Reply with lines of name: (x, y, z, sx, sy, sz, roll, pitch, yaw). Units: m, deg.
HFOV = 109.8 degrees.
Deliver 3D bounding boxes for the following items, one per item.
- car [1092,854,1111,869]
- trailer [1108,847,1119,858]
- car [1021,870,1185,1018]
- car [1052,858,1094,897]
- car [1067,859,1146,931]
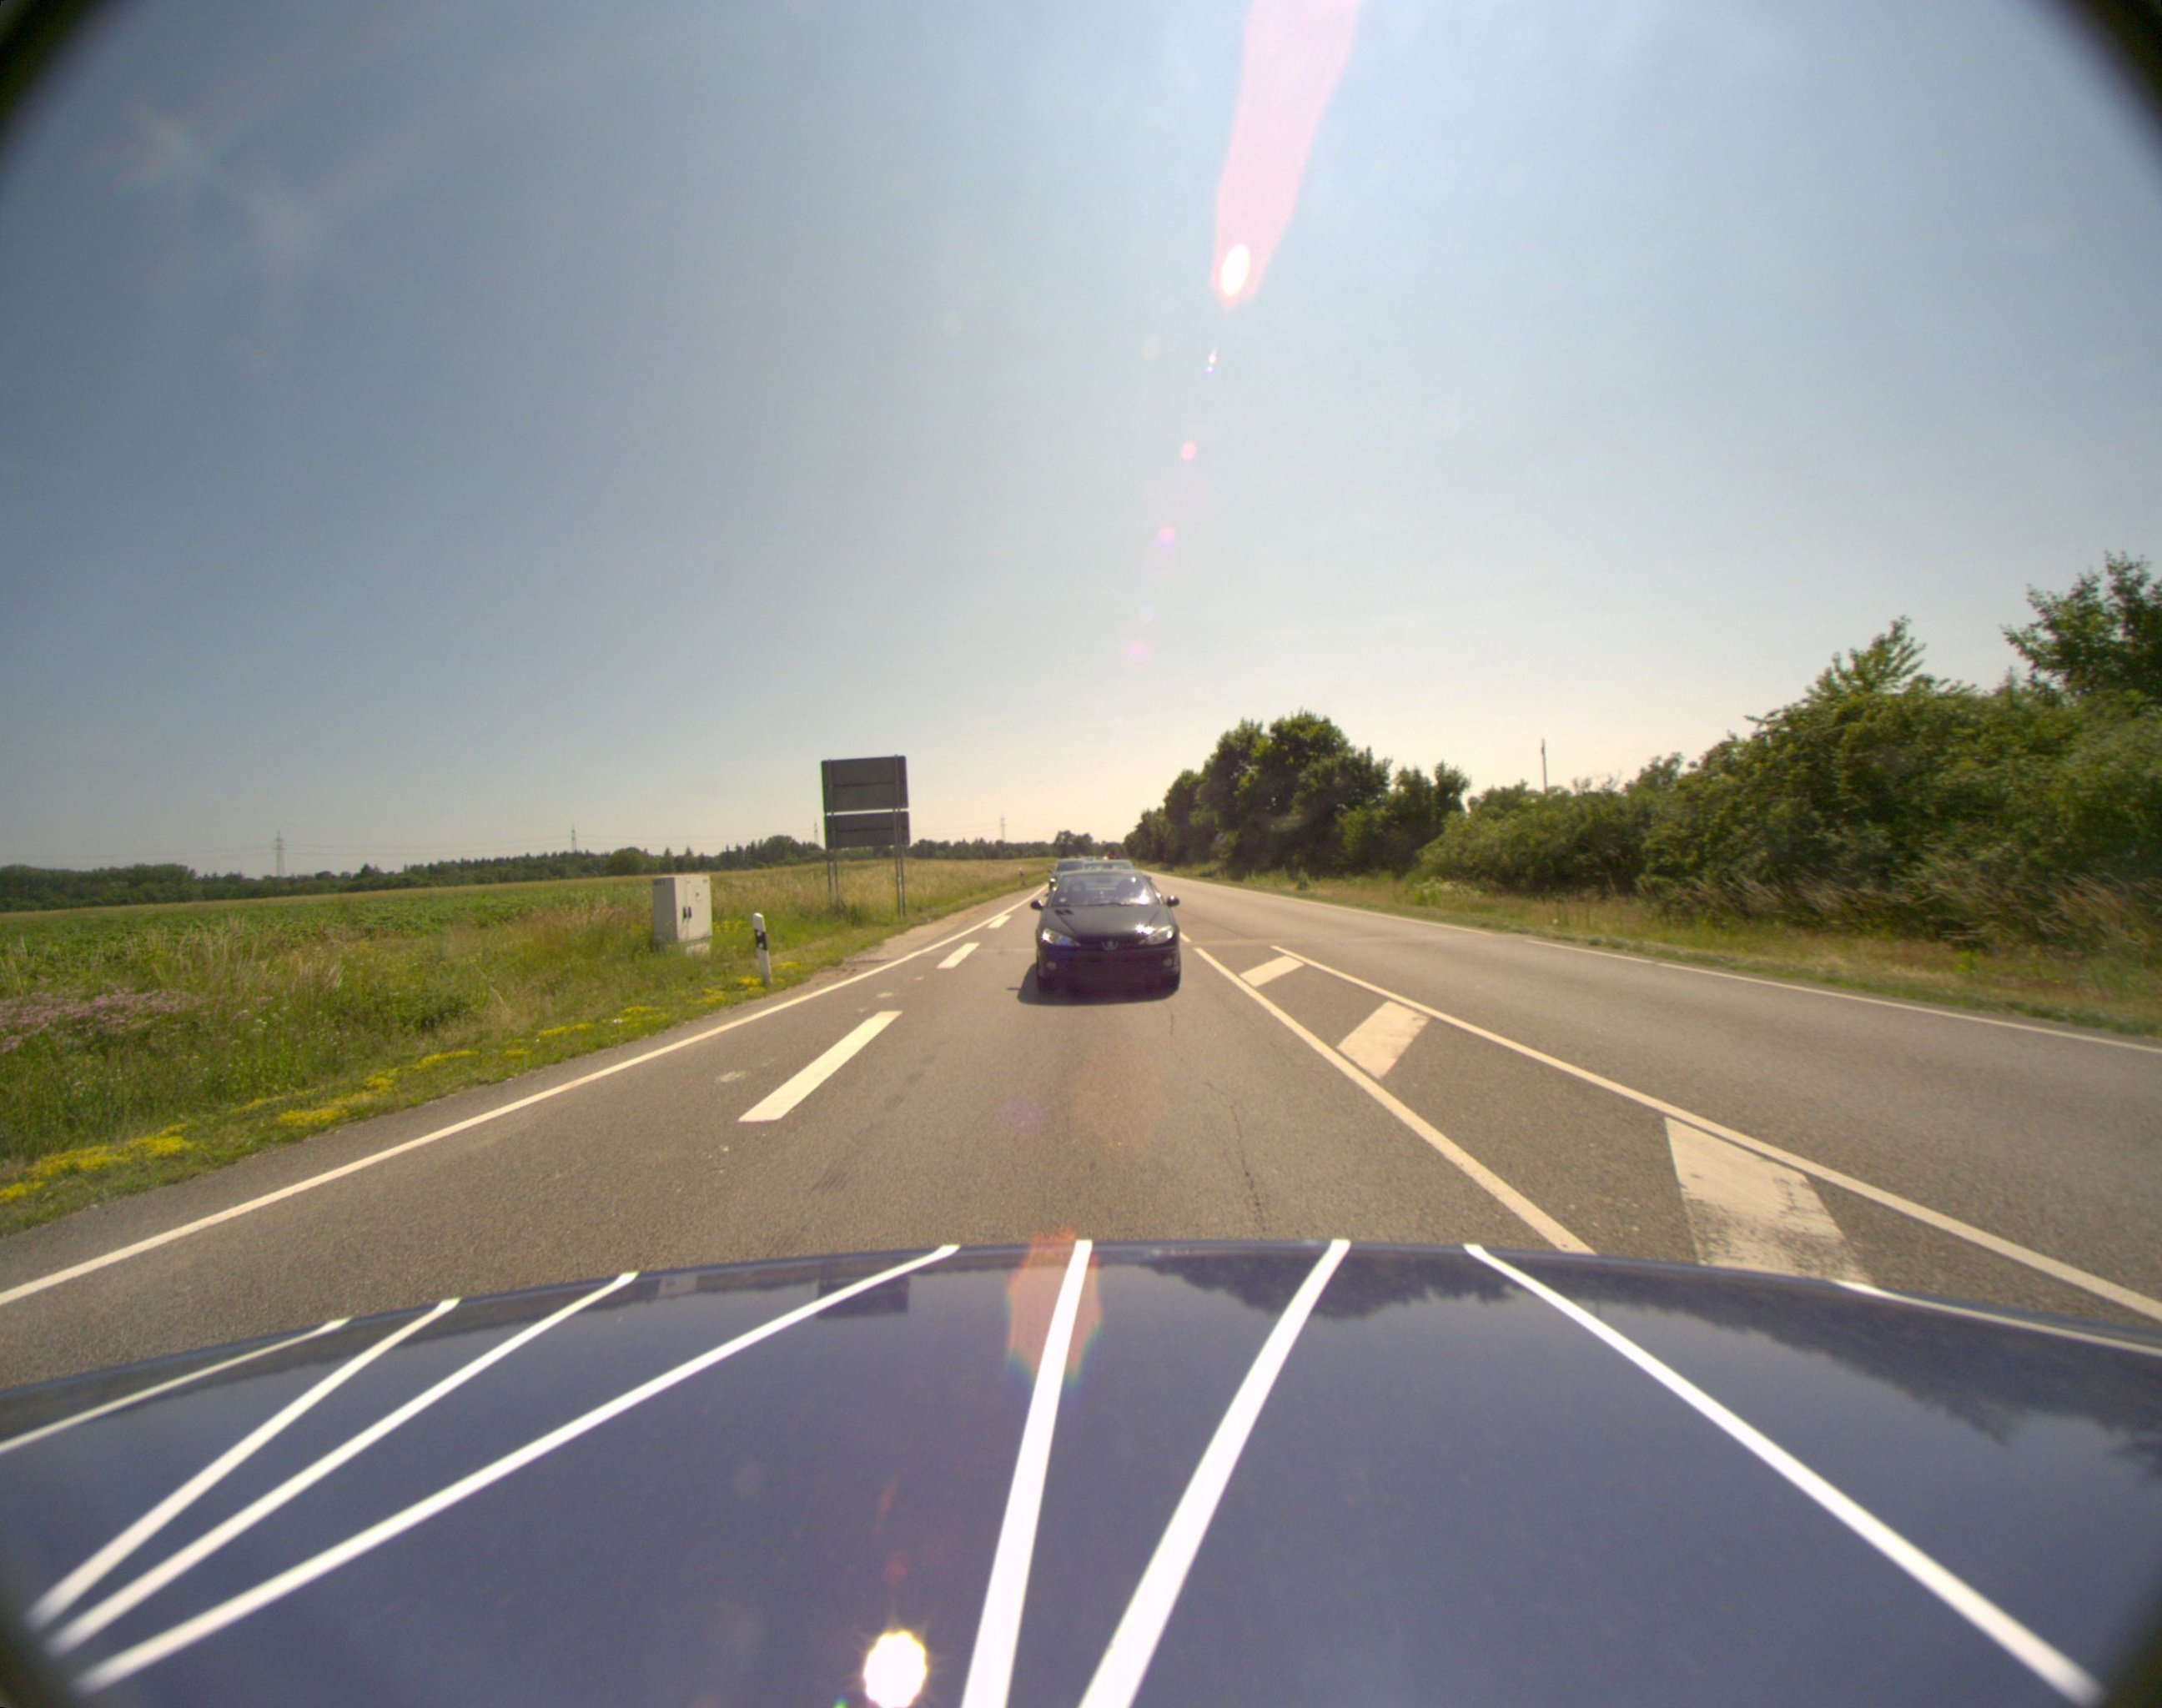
car: (1.823, 0.663, 68.197, 1.588, 1.294, 3.631, -2, 0, 1)
trailer: (10.800, -0.472, 256.136, 2.669, 3.440, 14.947, -1, 0, -1)
car: (0.255, 0.974, 9.769, 1.665, 1.389, 3.731, -2, 0, 1)
car: (-0.314, 0.951, 32.566, 1.665, 1.449, 4.173, -2, 0, 0)
car: (0.618, 0.920, 18.508, 1.665, 1.477, 3.732, -2, 0, 2)
